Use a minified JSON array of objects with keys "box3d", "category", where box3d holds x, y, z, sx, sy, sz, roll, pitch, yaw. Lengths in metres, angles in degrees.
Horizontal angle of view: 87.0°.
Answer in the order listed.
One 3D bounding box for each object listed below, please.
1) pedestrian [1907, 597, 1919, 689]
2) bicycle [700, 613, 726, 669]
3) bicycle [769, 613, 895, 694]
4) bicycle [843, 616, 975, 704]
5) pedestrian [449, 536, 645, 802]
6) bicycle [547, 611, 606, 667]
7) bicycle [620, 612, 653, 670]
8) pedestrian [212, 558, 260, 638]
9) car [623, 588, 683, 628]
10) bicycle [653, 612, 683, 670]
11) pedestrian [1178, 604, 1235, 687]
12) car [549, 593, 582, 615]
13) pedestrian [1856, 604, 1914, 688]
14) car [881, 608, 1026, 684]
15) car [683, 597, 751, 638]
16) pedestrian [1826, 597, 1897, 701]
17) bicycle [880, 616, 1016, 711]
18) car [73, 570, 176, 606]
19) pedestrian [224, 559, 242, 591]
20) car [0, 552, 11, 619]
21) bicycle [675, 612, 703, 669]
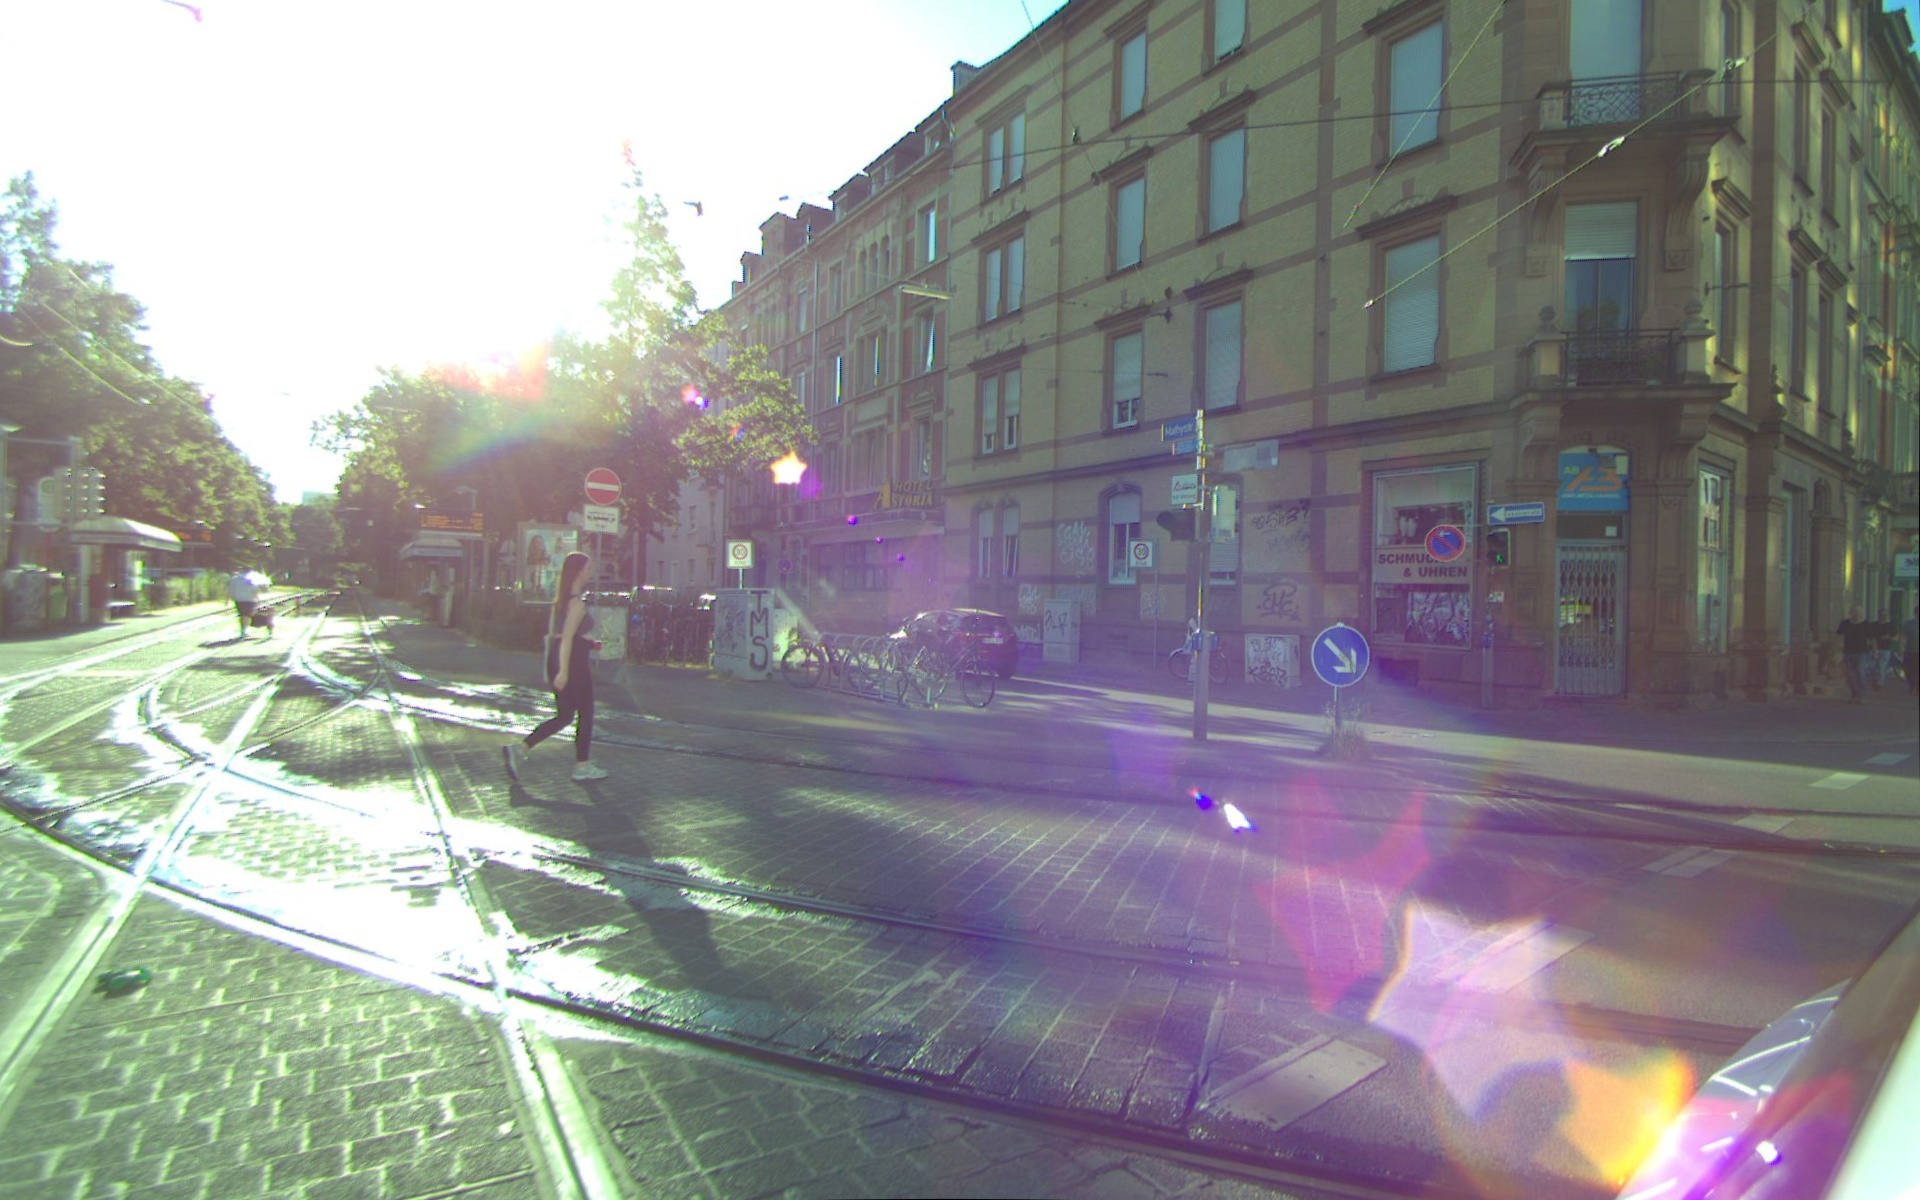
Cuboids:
[{"box3d":[20.509,0.921,21.200,0.740,1.918,0.824,1,1,-39],"category":"pedestrian"},{"box3d":[-5.241,0.852,21.535,0.490,1.121,1.803,1,0,-12],"category":"bicycle"},{"box3d":[-2.157,0.915,17.188,1.930,1.279,0.756,4,-2,-35],"category":"bicycle"},{"box3d":[-0.789,0.946,15.937,1.930,1.279,0.756,4,-2,-35],"category":"bicycle"},{"box3d":[-3.152,0.475,7.727,1.064,1.830,1.024,2,0,-42],"category":"pedestrian"},{"box3d":[-8.188,0.810,21.674,0.491,1.121,1.799,1,0,3],"category":"bicycle"},{"box3d":[-6.764,0.835,21.218,0.490,1.121,1.803,1,0,-12],"category":"bicycle"},{"box3d":[-18.953,-0.048,26.514,0.846,2.039,0.607,3,-1,-28],"category":"pedestrian"},{"box3d":[-15.370,0.365,50.508,1.937,1.842,3.986,3,-1,-30],"category":"car"},{"box3d":[-6.136,0.841,21.309,0.490,1.121,1.803,1,0,-12],"category":"bicycle"},{"box3d":[4.954,0.893,20.351,0.749,1.590,0.745,-4,1,-33],"category":"pedestrian"},{"box3d":[-28.458,0.276,72.911,1.663,1.534,3.583,2,-1,-30],"category":"car"},{"box3d":[19.982,0.979,21.865,0.740,1.744,0.777,1,1,-39],"category":"pedestrian"},{"box3d":[-0.225,0.969,22.579,1.663,1.515,3.583,2,-1,-30],"category":"car"},{"box3d":[-9.858,0.675,40.913,1.663,1.534,3.583,3,-1,-30],"category":"car"},{"box3d":[15.882,0.844,17.825,0.740,1.744,0.777,1,1,-39],"category":"pedestrian"},{"box3d":[-0.159,0.923,14.673,1.800,1.279,0.756,4,-2,-35],"category":"bicycle"},{"box3d":[-46.927,-0.686,56.902,4.190,1.949,1.945,0,0,-1],"category":"car"},{"box3d":[-42.398,-1.451,59.012,0.669,1.853,0.607,3,-1,-28],"category":"pedestrian"},{"box3d":[-50.811,-0.743,51.908,1.906,3.513,5.705,0,1,-30],"category":"car"},{"box3d":[-5.742,0.841,21.475,0.490,1.121,1.803,1,0,-12],"category":"bicycle"}]
